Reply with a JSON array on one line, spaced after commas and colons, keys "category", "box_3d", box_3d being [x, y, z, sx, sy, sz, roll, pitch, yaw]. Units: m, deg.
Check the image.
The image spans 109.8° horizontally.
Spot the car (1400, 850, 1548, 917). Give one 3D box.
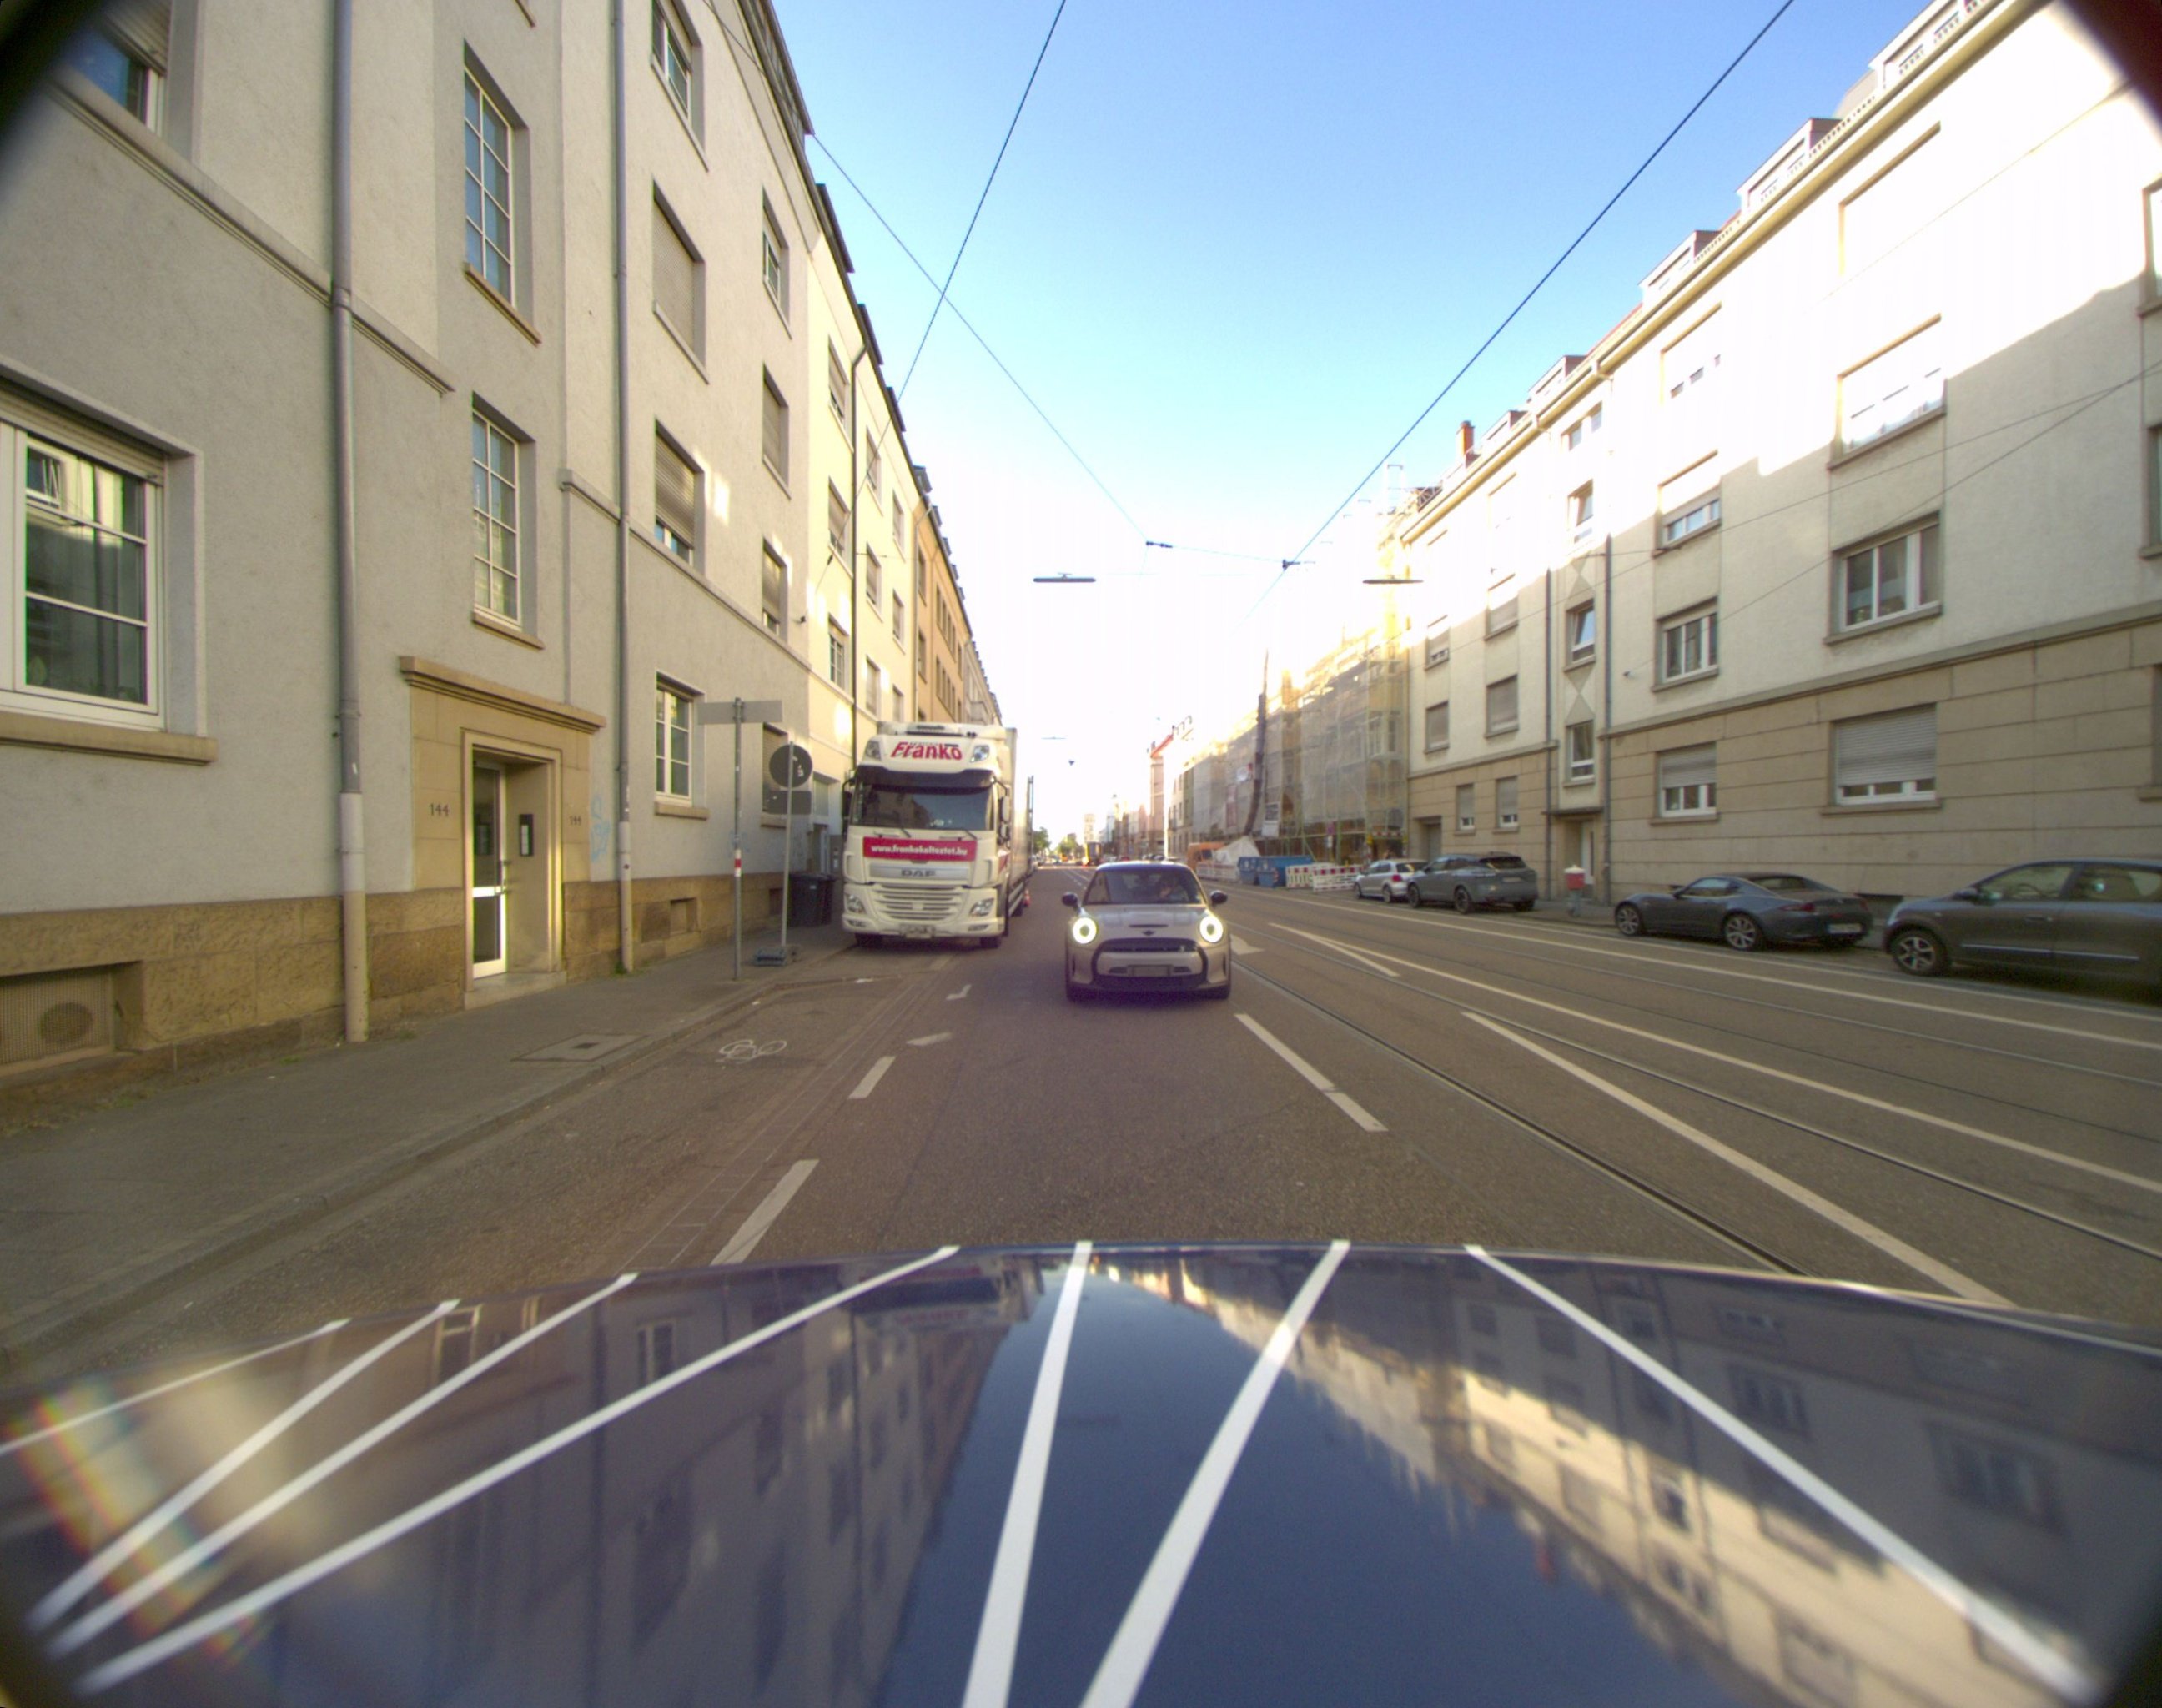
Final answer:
[{"category": "car", "box_3d": [10.839, 0.735, 21.339, 1.752, 1.600, 4.157, -3, 1, -4]}]

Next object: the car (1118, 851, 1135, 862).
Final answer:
[{"category": "car", "box_3d": [7.123, 0.400, 119.483, 2.231, 1.518, 4.959, -2, 1, -1]}]

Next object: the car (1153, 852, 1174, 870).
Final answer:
[{"category": "car", "box_3d": [8.302, 0.662, 77.097, 1.570, 1.674, 3.935, -2, 1, -1]}]

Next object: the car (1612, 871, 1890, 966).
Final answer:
[{"category": "car", "box_3d": [11.134, 0.993, 12.976, 1.476, 1.212, 3.522, -3, 1, -4]}]

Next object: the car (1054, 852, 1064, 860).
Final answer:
[{"category": "car", "box_3d": [-5.027, 0.430, 171.764, 1.999, 1.871, 4.269, -2, 1, -4]}]

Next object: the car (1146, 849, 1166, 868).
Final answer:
[{"category": "car", "box_3d": [8.192, 0.479, 83.348, 1.570, 1.945, 4.183, -2, 1, -1]}]

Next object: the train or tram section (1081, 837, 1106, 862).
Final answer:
[{"category": "train or tram section", "box_3d": [1.716, -0.679, 111.480, 2.867, 3.542, 13.038, 0, 1, -3]}]

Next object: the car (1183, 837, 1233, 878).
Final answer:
[{"category": "car", "box_3d": [8.835, 0.203, 53.369, 2.215, 2.681, 5.871, -2, 1, -2]}]

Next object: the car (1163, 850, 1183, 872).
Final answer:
[{"category": "car", "box_3d": [8.605, 0.642, 71.127, 1.658, 1.911, 3.766, -2, 1, 5]}]

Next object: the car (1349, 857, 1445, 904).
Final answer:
[{"category": "car", "box_3d": [10.640, 0.845, 25.822, 1.565, 1.372, 3.506, -3, 1, -4]}]

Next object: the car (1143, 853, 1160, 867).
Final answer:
[{"category": "car", "box_3d": [8.165, 0.731, 88.489, 1.532, 1.518, 3.599, -2, 1, -1]}]

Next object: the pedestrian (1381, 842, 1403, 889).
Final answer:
[{"category": "pedestrian", "box_3d": [12.526, 0.447, 30.615, 0.519, 1.861, 0.762, -2, 1, -2]}]

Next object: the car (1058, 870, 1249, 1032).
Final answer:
[{"category": "car", "box_3d": [0.651, 0.924, 8.821, 1.727, 1.416, 3.817, 0, 0, 0]}]

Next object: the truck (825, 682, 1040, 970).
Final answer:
[{"category": "truck", "box_3d": [-2.484, -0.515, 17.060, 2.700, 4.214, 11.773, 0, 1, -1]}]

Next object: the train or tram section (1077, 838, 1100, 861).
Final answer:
[{"category": "train or tram section", "box_3d": [1.147, -0.806, 123.717, 2.867, 3.542, 13.330, 0, 1, -3]}]

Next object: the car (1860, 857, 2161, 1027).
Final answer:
[{"category": "car", "box_3d": [11.367, 0.870, 8.439, 1.644, 1.549, 3.594, -3, 1, -2]}]
